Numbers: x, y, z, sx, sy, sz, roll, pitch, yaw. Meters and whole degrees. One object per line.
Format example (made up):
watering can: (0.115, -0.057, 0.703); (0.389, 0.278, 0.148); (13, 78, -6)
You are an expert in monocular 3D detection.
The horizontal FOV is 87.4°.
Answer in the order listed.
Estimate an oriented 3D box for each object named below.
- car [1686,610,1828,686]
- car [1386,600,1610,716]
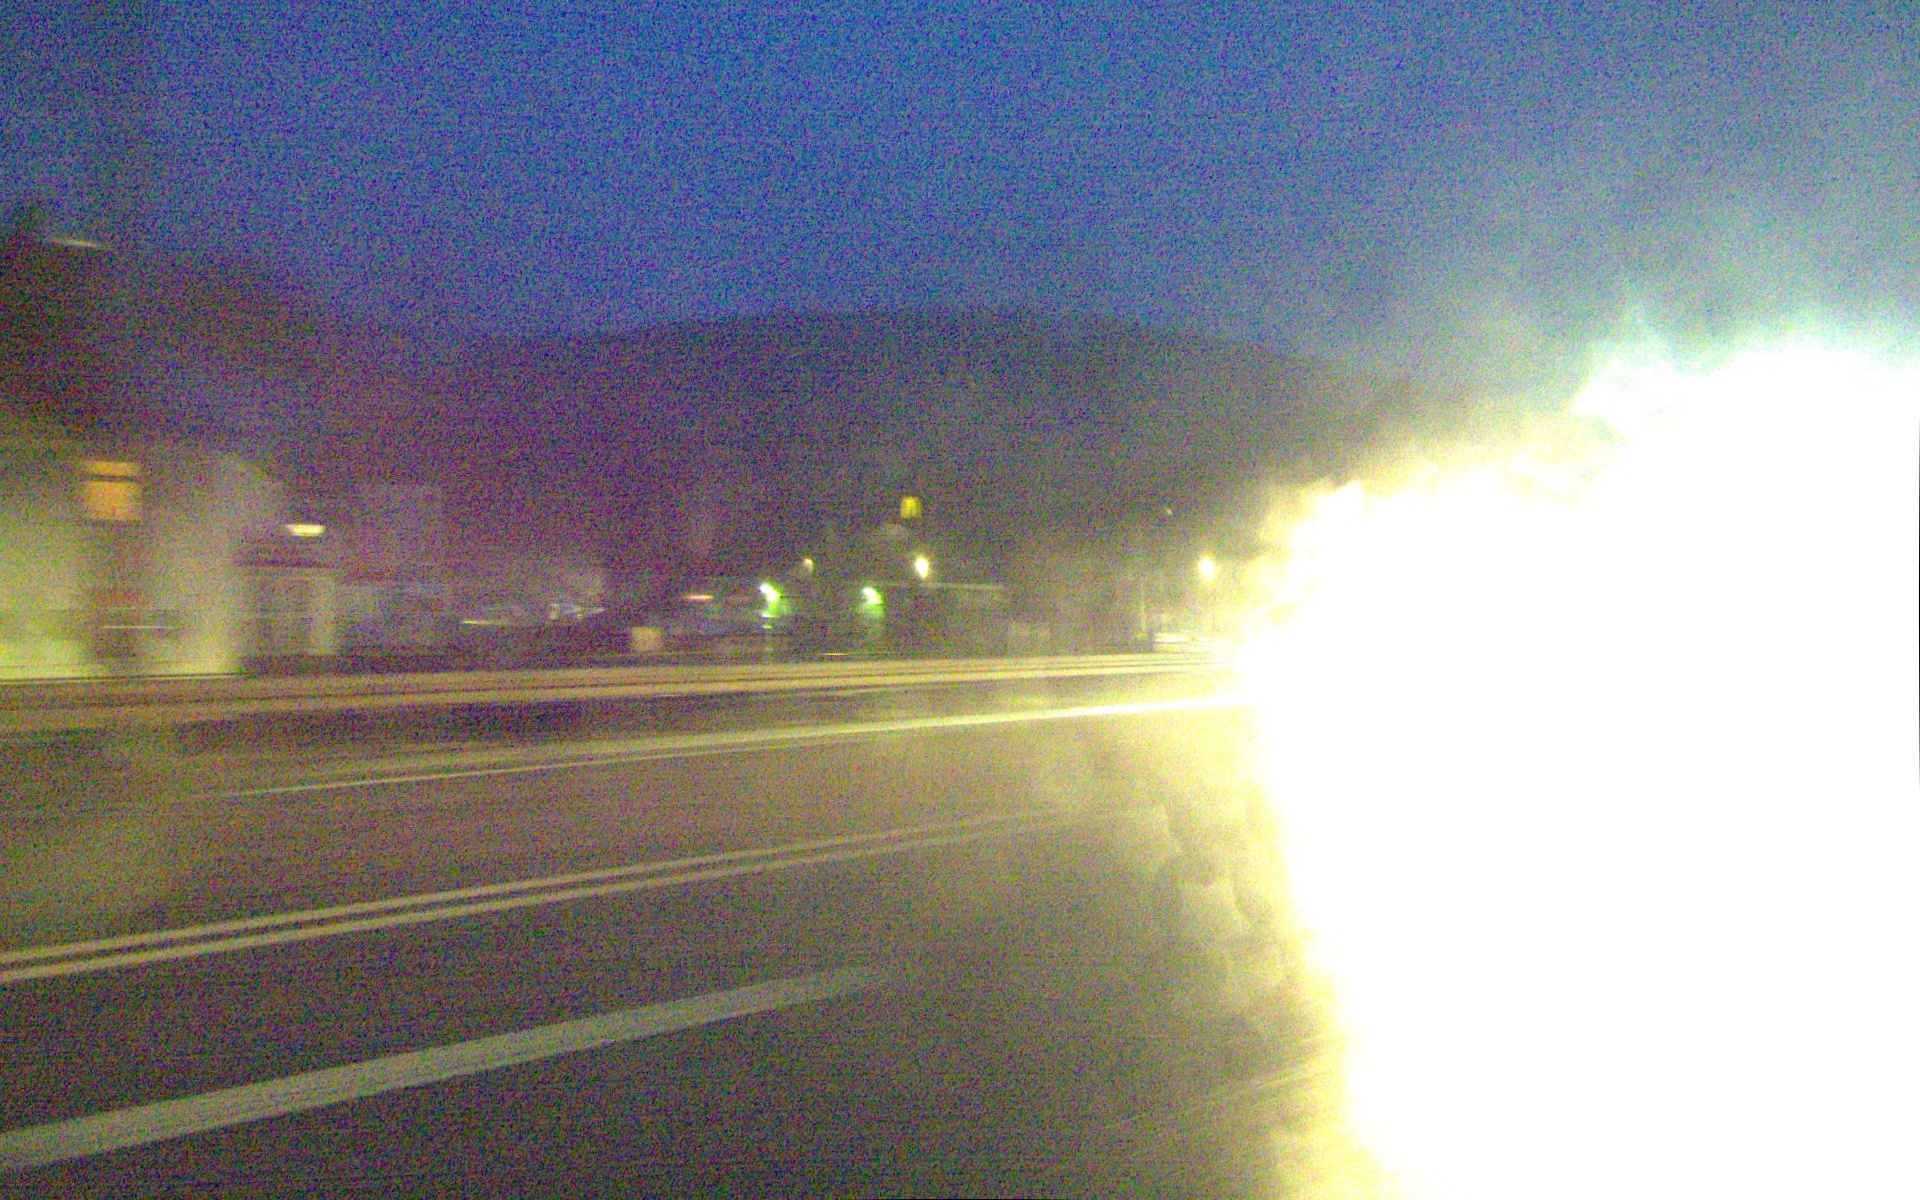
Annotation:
car: (20.784, 1.193, 26.132); (4.491, 1.768, 2.178); (1, 0, -42)
car: (8.794, 0.869, 16.318); (3.867, 1.621, 1.866); (1, 0, -39)
